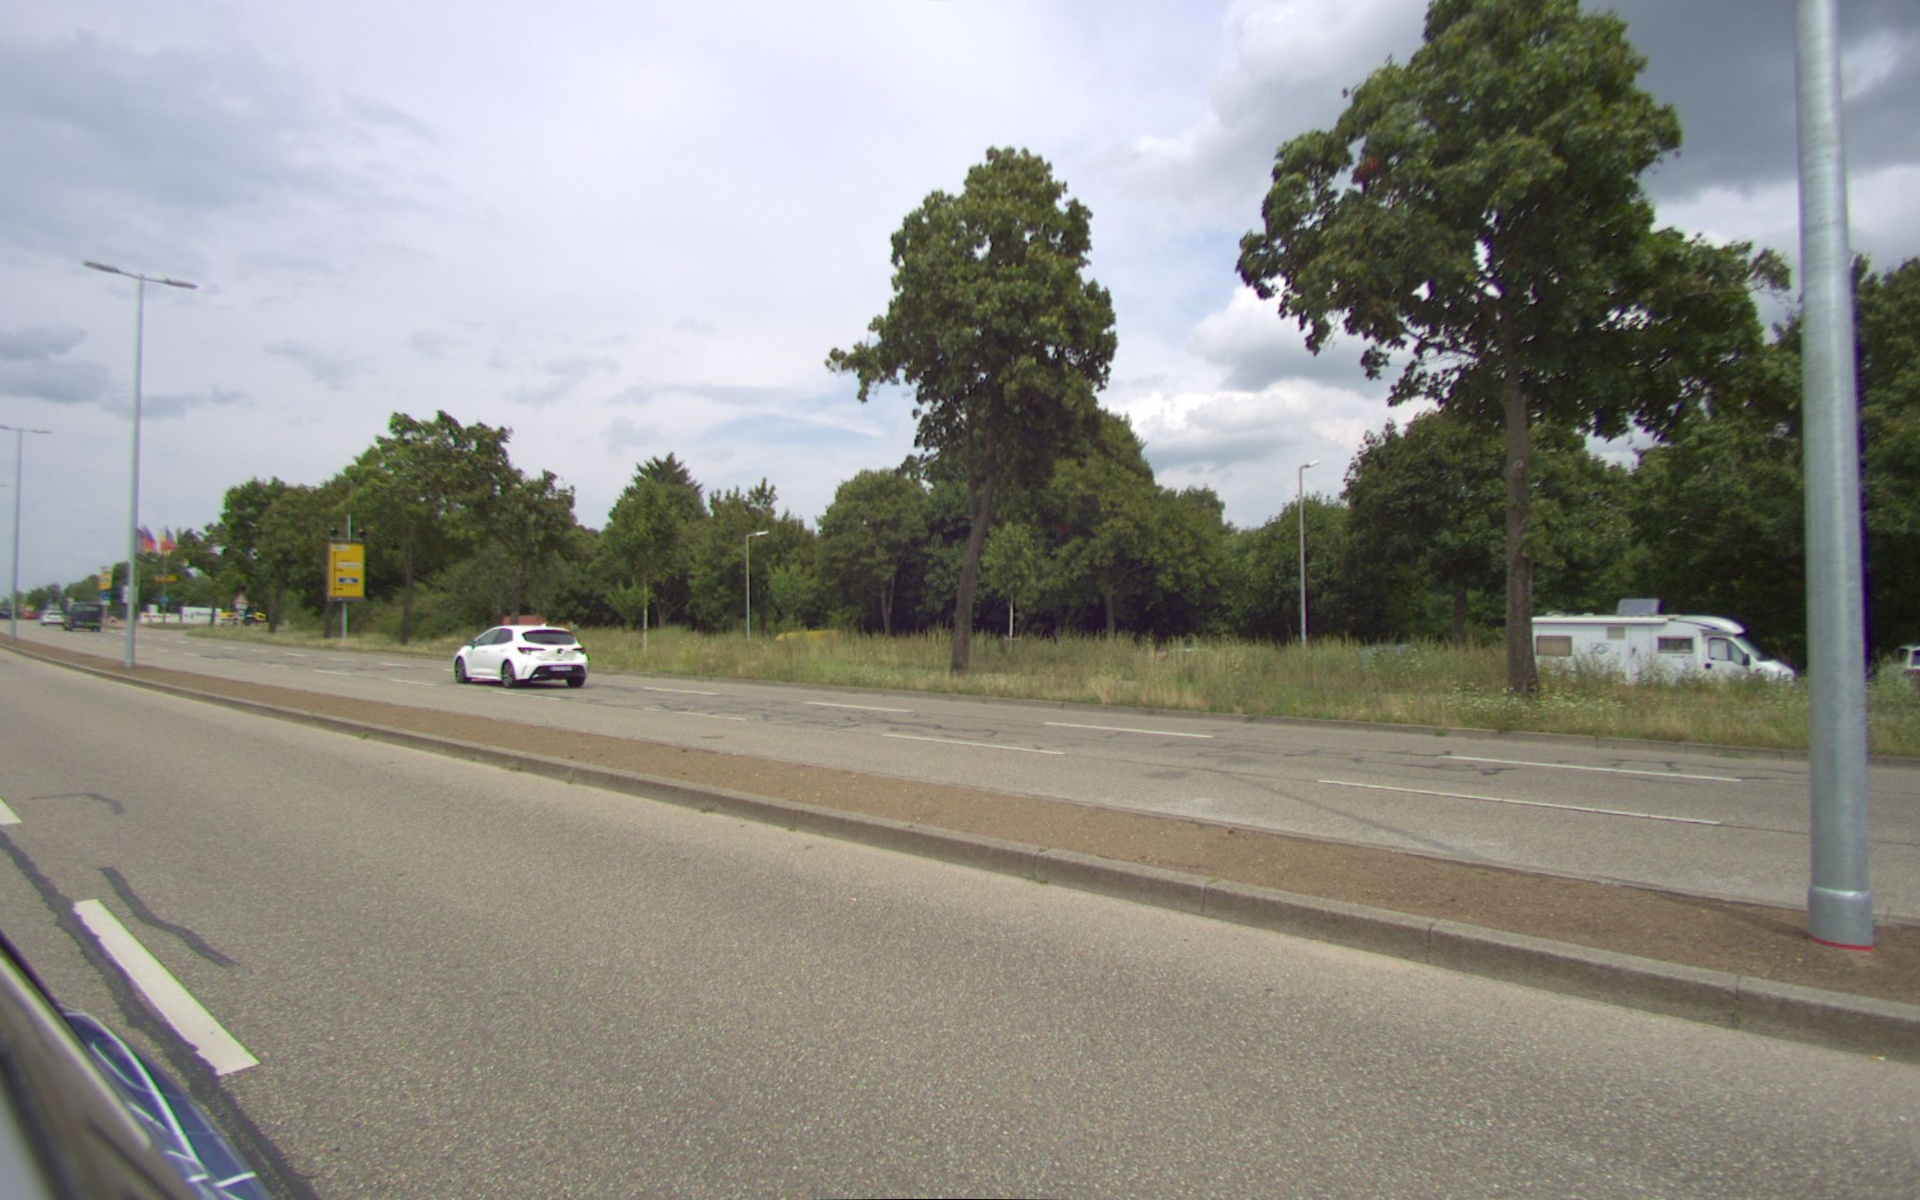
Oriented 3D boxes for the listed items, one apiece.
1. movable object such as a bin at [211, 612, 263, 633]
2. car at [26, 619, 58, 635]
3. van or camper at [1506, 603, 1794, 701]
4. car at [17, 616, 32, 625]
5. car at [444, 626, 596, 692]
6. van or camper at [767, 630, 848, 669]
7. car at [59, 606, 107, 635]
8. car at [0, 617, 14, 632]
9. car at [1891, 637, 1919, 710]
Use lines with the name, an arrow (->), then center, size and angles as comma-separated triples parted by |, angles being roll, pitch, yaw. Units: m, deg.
movable object such as a bin -> -85.572, 2.659, 119.800 | 1.994, 2.415, 4.541 | -2, -2, 33
car -> -90.255, 2.664, 99.508 | 4.689, 1.442, 1.971 | -2, -3, 44
van or camper -> 20.146, 1.498, 29.831 | 6.718, 2.560, 2.445 | -3, -3, 42
car -> -164.278, 3.610, 177.677 | 1.734, 1.332, 4.349 | 1, -3, -44
car -> -10.456, 1.383, 23.938 | 4.158, 1.431, 1.698 | -3, -4, 42
van or camper -> -8.932, 2.858, 59.443 | 4.298, 2.029, 2.004 | -1, 0, -39
car -> -70.223, 1.694, 81.007 | 6.001, 2.218, 2.073 | -2, -3, 42
car -> -123.140, 3.099, 130.016 | 4.796, 1.825, 1.972 | -3, -4, 42
car -> 25.263, 1.831, 25.888 | 1.885, 1.729, 3.946 | -2, -3, 40
